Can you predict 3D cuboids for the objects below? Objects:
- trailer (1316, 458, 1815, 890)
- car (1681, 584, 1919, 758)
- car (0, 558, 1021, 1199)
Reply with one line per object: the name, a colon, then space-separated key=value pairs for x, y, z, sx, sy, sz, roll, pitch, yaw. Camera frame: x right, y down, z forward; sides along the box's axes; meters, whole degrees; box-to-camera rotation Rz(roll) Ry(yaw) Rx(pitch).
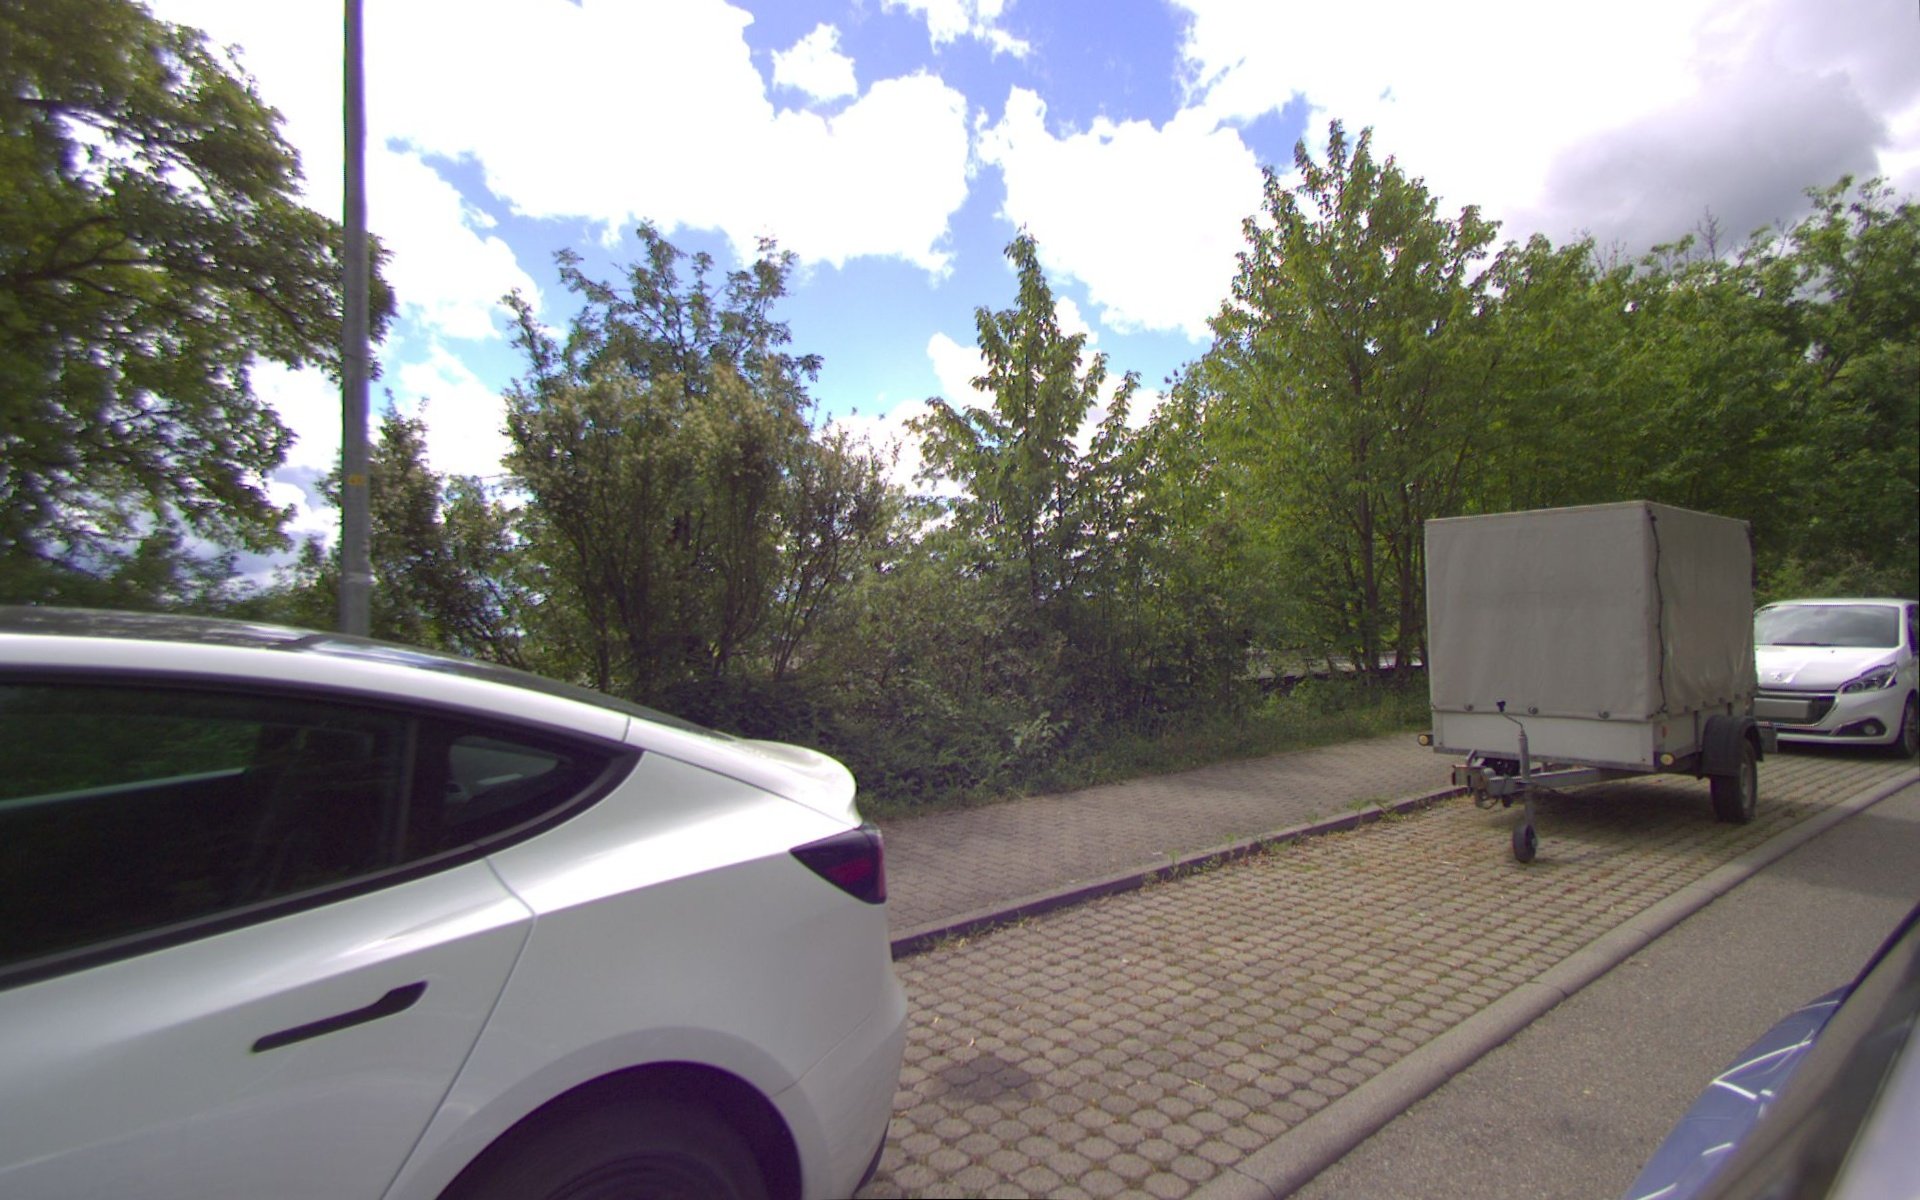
trailer: x=4.192 y=0.334 z=6.796 sx=3.716 sy=2.104 sz=1.733 roll=-1 pitch=0 yaw=-40
car: x=9.224 y=0.587 z=10.489 sx=3.711 sy=1.495 sz=1.711 roll=-1 pitch=0 yaw=-35
car: x=-2.255 y=0.700 z=1.163 sx=4.819 sy=1.496 sz=1.864 roll=1 pitch=-1 yaw=-43
